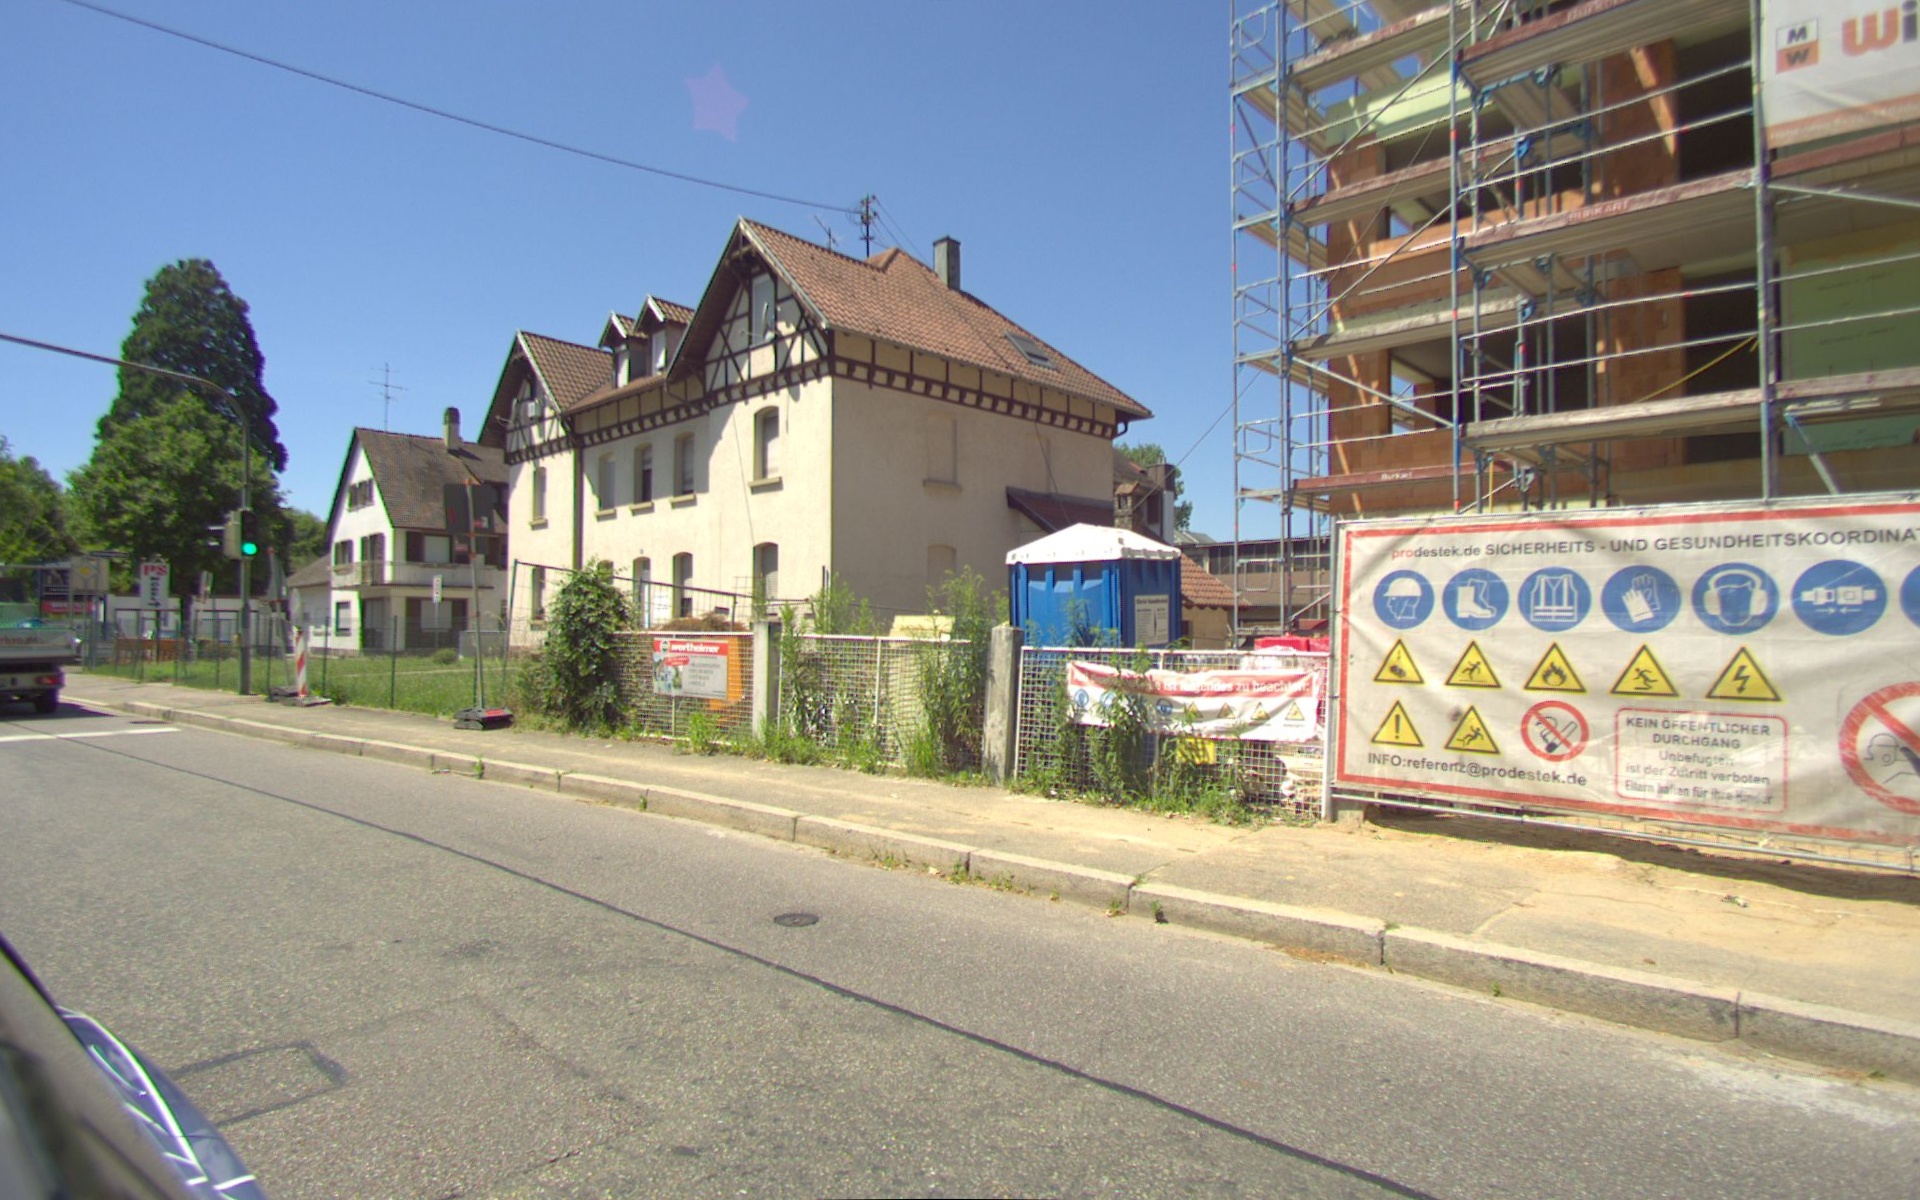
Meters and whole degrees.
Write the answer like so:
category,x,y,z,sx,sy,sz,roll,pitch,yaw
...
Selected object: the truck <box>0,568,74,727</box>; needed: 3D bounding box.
category,x,y,z,sx,sy,sz,roll,pitch,yaw
truck,-16.947,0.762,16.873,6.426,2.357,2.107,-2,-3,39
